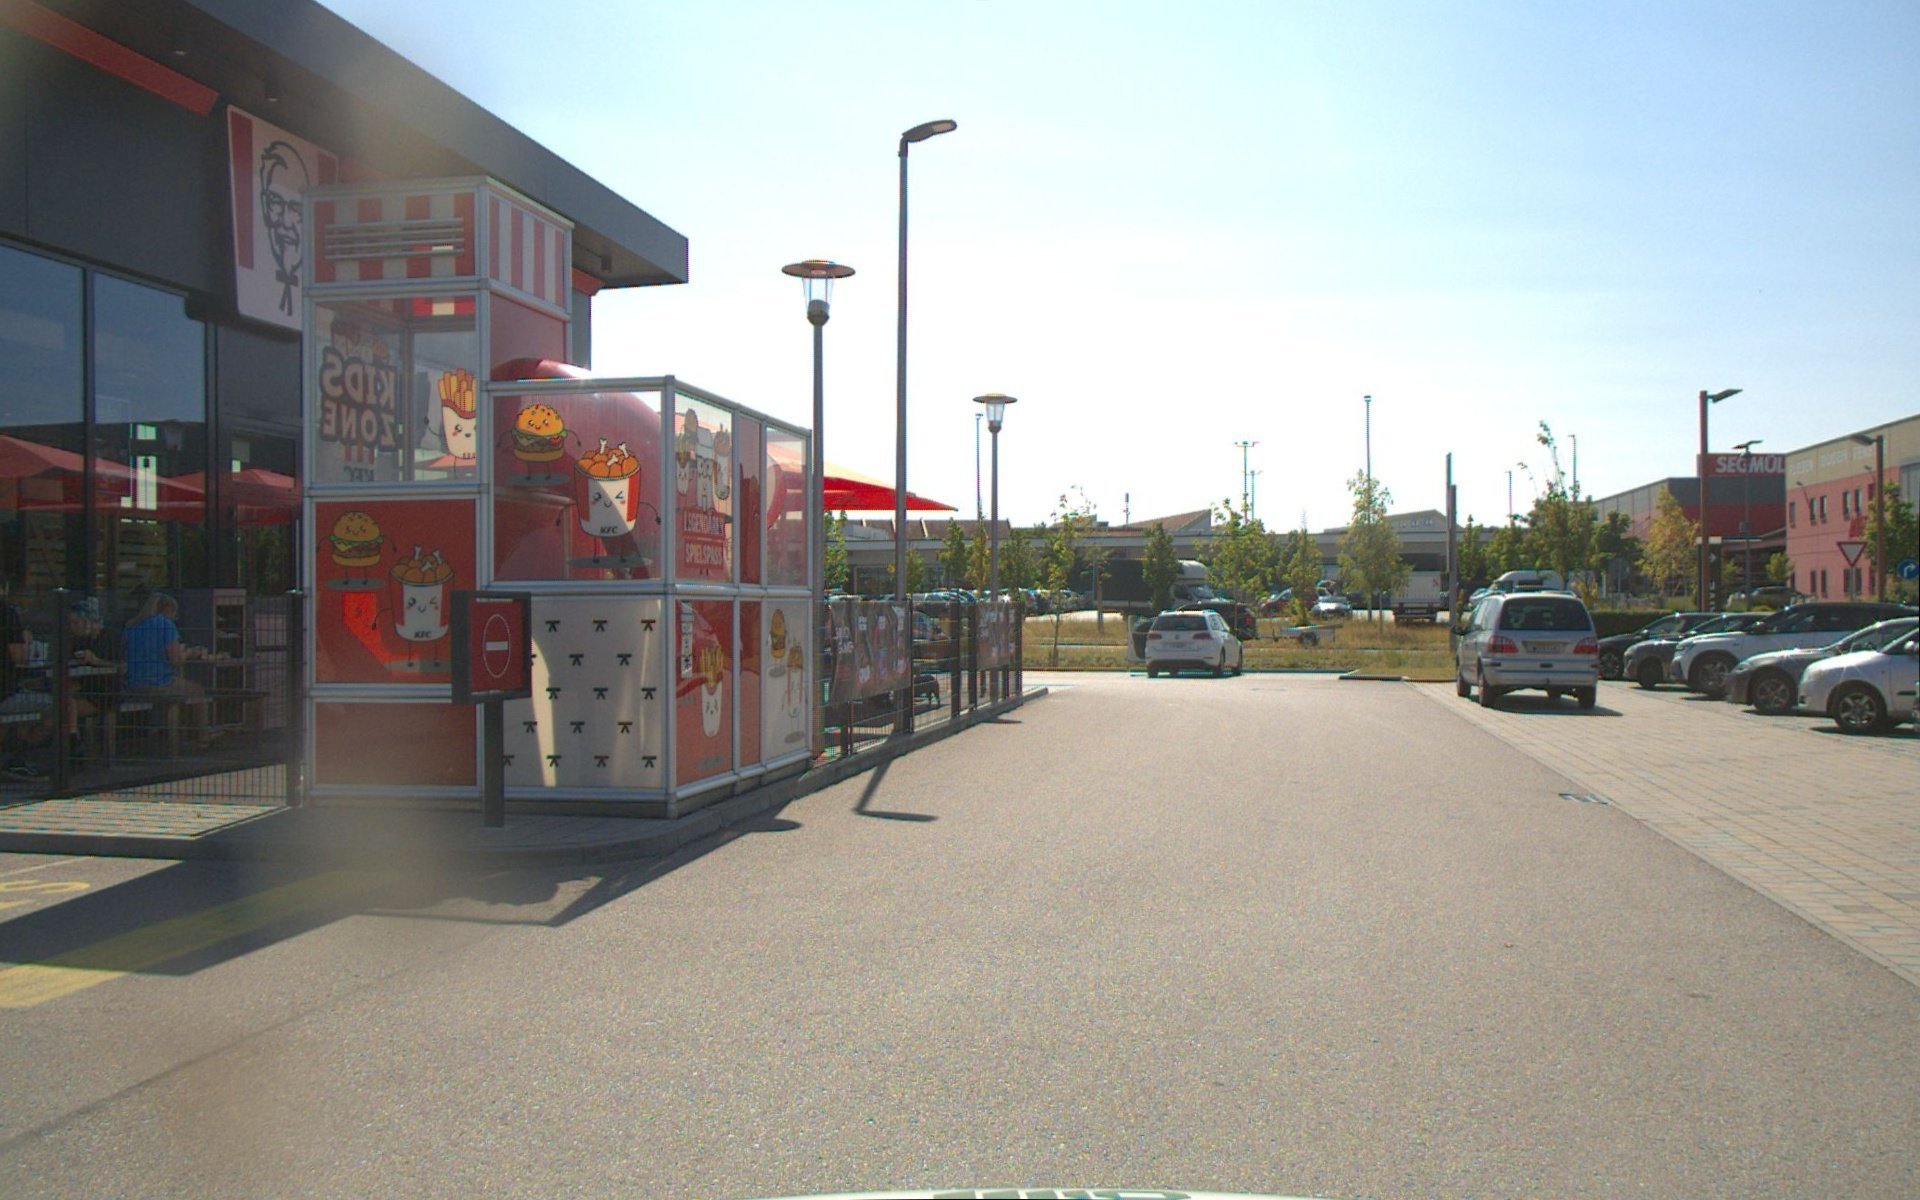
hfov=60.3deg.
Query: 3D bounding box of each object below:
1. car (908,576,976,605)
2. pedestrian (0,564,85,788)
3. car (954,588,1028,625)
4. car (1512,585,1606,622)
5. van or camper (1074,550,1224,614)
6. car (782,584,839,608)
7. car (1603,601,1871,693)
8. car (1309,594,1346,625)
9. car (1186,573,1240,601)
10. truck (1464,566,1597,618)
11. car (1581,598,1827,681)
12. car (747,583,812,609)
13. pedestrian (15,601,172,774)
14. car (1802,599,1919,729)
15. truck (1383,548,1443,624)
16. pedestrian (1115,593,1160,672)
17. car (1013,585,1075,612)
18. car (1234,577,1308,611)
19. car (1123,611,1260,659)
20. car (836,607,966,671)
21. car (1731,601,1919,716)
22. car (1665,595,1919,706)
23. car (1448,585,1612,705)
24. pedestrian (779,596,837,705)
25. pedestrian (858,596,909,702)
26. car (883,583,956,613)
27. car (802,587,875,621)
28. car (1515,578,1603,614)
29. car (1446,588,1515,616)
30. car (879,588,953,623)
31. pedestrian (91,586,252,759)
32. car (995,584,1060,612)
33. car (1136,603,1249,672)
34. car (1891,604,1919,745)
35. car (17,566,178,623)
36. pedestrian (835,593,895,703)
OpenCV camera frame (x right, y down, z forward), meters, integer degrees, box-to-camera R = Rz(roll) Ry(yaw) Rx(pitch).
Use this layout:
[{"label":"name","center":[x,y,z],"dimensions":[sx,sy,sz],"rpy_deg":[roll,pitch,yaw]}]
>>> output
[{"label":"car","center":[-1.192,-0.649,112.329],"dimensions":[4.296,1.888,1.957],"rpy_deg":[1,0,10]},{"label":"pedestrian","center":[-6.549,0.498,11.258],"dimensions":[0.779,1.468,0.694],"rpy_deg":[0,0,9]},{"label":"car","center":[1.683,0.347,87.811],"dimensions":[1.915,1.888,4.391],"rpy_deg":[0,0,33]},{"label":"car","center":[31.049,0.181,85.886],"dimensions":[4.296,1.888,1.957],"rpy_deg":[1,0,10]},{"label":"van or camper","center":[9.648,-0.939,85.166],"dimensions":[7.919,3.156,2.403],"rpy_deg":[1,0,44]},{"label":"car","center":[-12.285,-0.339,136.077],"dimensions":[4.296,1.888,1.957],"rpy_deg":[1,0,10]},{"label":"car","center":[14.471,0.825,30.959],"dimensions":[1.959,1.553,4.142],"rpy_deg":[0,0,-42]},{"label":"car","center":[18.305,0.438,82.302],"dimensions":[1.615,1.485,3.969],"rpy_deg":[0,0,15]},{"label":"car","center":[19.201,-0.964,125.653],"dimensions":[3.902,2.049,2.002],"rpy_deg":[1,0,13]},{"label":"truck","center":[32.276,-0.464,93.727],"dimensions":[6.885,2.864,1.957],"rpy_deg":[1,0,10]},{"label":"car","center":[15.257,0.758,34.115],"dimensions":[1.953,1.553,4.279],"rpy_deg":[0,1,-35]},{"label":"car","center":[-13.463,-0.313,123.365],"dimensions":[4.461,1.888,1.957],"rpy_deg":[1,0,10]},{"label":"pedestrian","center":[-6.340,0.620,12.128],"dimensions":[0.736,1.221,0.695],"rpy_deg":[0,0,11]},{"label":"car","center":[12.772,0.789,20.190],"dimensions":[4.129,1.553,1.965],"rpy_deg":[1,0,40]},{"label":"truck","center":[22.143,-0.649,80.887],"dimensions":[2.701,3.541,6.837],"rpy_deg":[0,0,16]},{"label":"pedestrian","center":[4.200,0.773,39.050],"dimensions":[0.970,1.841,0.726],"rpy_deg":[0,-1,13]},{"label":"car","center":[6.083,-0.133,119.788],"dimensions":[4.296,1.888,1.957],"rpy_deg":[1,0,10]},{"label":"car","center":[17.953,-0.341,95.576],"dimensions":[4.162,1.888,1.871],"rpy_deg":[1,0,10]},{"label":"car","center":[9.039,1.329,64.381],"dimensions":[5.096,1.761,1.991],"rpy_deg":[1,0,14]},{"label":"car","center":[-1.381,0.952,40.681],"dimensions":[1.789,1.495,4.355],"rpy_deg":[0,-1,18]},{"label":"car","center":[13.795,0.820,23.533],"dimensions":[1.958,1.553,4.773],"rpy_deg":[0,0,-41]},{"label":"car","center":[14.154,0.781,27.488],"dimensions":[4.129,1.683,1.965],"rpy_deg":[1,0,40]},{"label":"car","center":[9.200,0.677,27.067],"dimensions":[1.788,1.779,4.687],"rpy_deg":[0,0,10]},{"label":"pedestrian","center":[-1.829,0.601,19.888],"dimensions":[0.670,1.296,0.550],"rpy_deg":[0,0,-6]},{"label":"pedestrian","center":[-0.962,0.606,20.692],"dimensions":[0.600,1.296,0.623],"rpy_deg":[0,0,-6]},{"label":"car","center":[-2.580,-0.147,105.556],"dimensions":[4.296,1.888,1.957],"rpy_deg":[1,0,10]},{"label":"car","center":[-6.862,0.235,93.591],"dimensions":[1.958,1.888,4.273],"rpy_deg":[0,0,33]},{"label":"car","center":[32.887,-0.218,90.901],"dimensions":[4.296,1.888,1.957],"rpy_deg":[1,0,10]},{"label":"car","center":[35.530,0.142,112.961],"dimensions":[4.296,1.888,1.957],"rpy_deg":[1,0,10]},{"label":"car","center":[-2.396,0.294,91.180],"dimensions":[1.915,1.888,4.391],"rpy_deg":[0,0,33]},{"label":"pedestrian","center":[-6.329,0.560,13.310],"dimensions":[0.736,1.335,0.946],"rpy_deg":[0,0,11]},{"label":"car","center":[4.662,-0.128,113.975],"dimensions":[4.296,1.888,1.957],"rpy_deg":[1,0,10]},{"label":"car","center":[5.435,0.871,38.196],"dimensions":[1.789,1.495,4.483],"rpy_deg":[0,-1,19]},{"label":"car","center":[12.292,0.822,16.678],"dimensions":[1.954,1.512,4.720],"rpy_deg":[0,0,-37]},{"label":"car","center":[-27.278,-0.139,52.460],"dimensions":[1.851,1.732,4.331],"rpy_deg":[0,-1,22]},{"label":"pedestrian","center":[-1.146,0.565,19.850],"dimensions":[0.670,1.296,0.840],"rpy_deg":[0,0,-6]}]
